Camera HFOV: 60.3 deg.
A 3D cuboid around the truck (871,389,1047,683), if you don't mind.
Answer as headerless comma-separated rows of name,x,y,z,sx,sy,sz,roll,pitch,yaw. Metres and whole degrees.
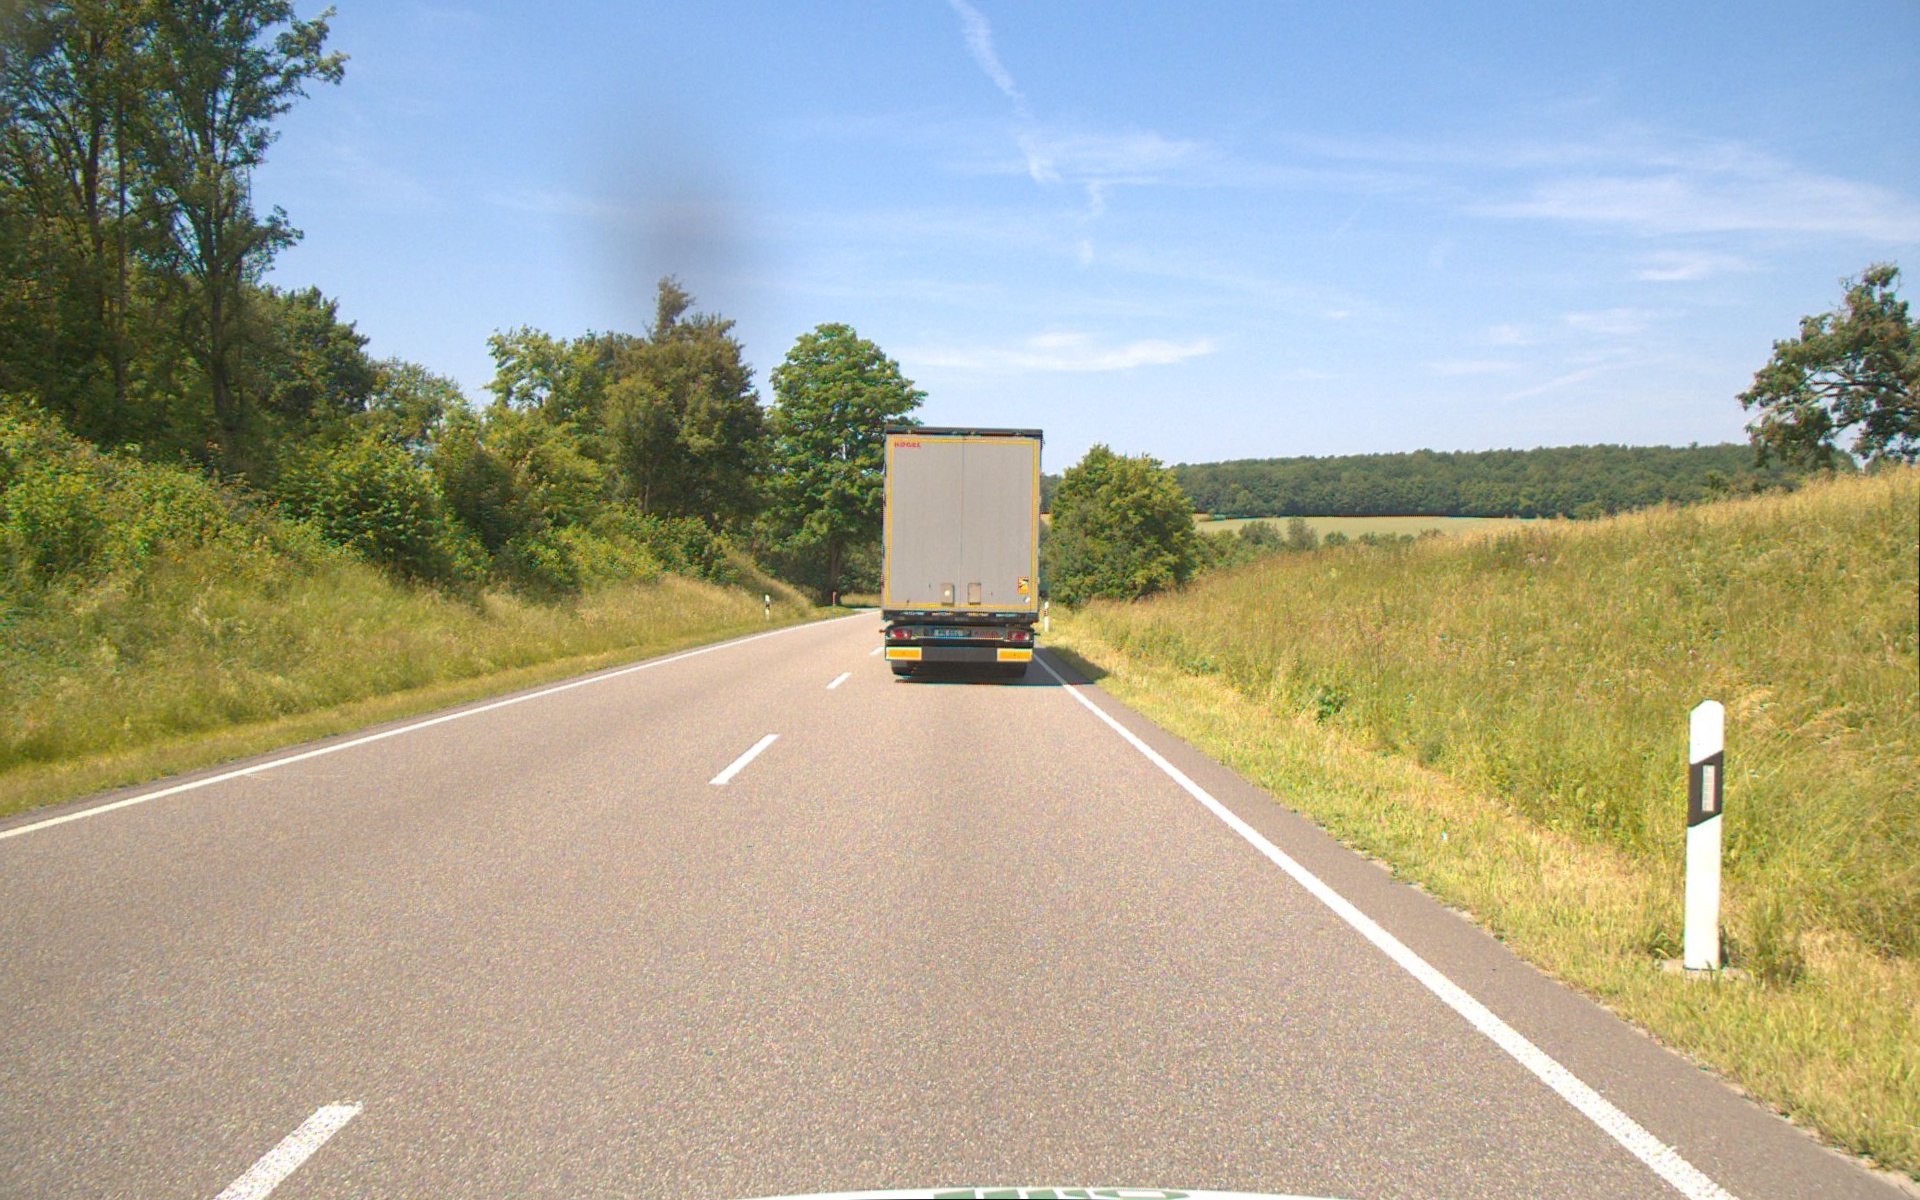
truck,-0.039,-1.064,31.821,2.760,4.611,11.767,0,1,0
